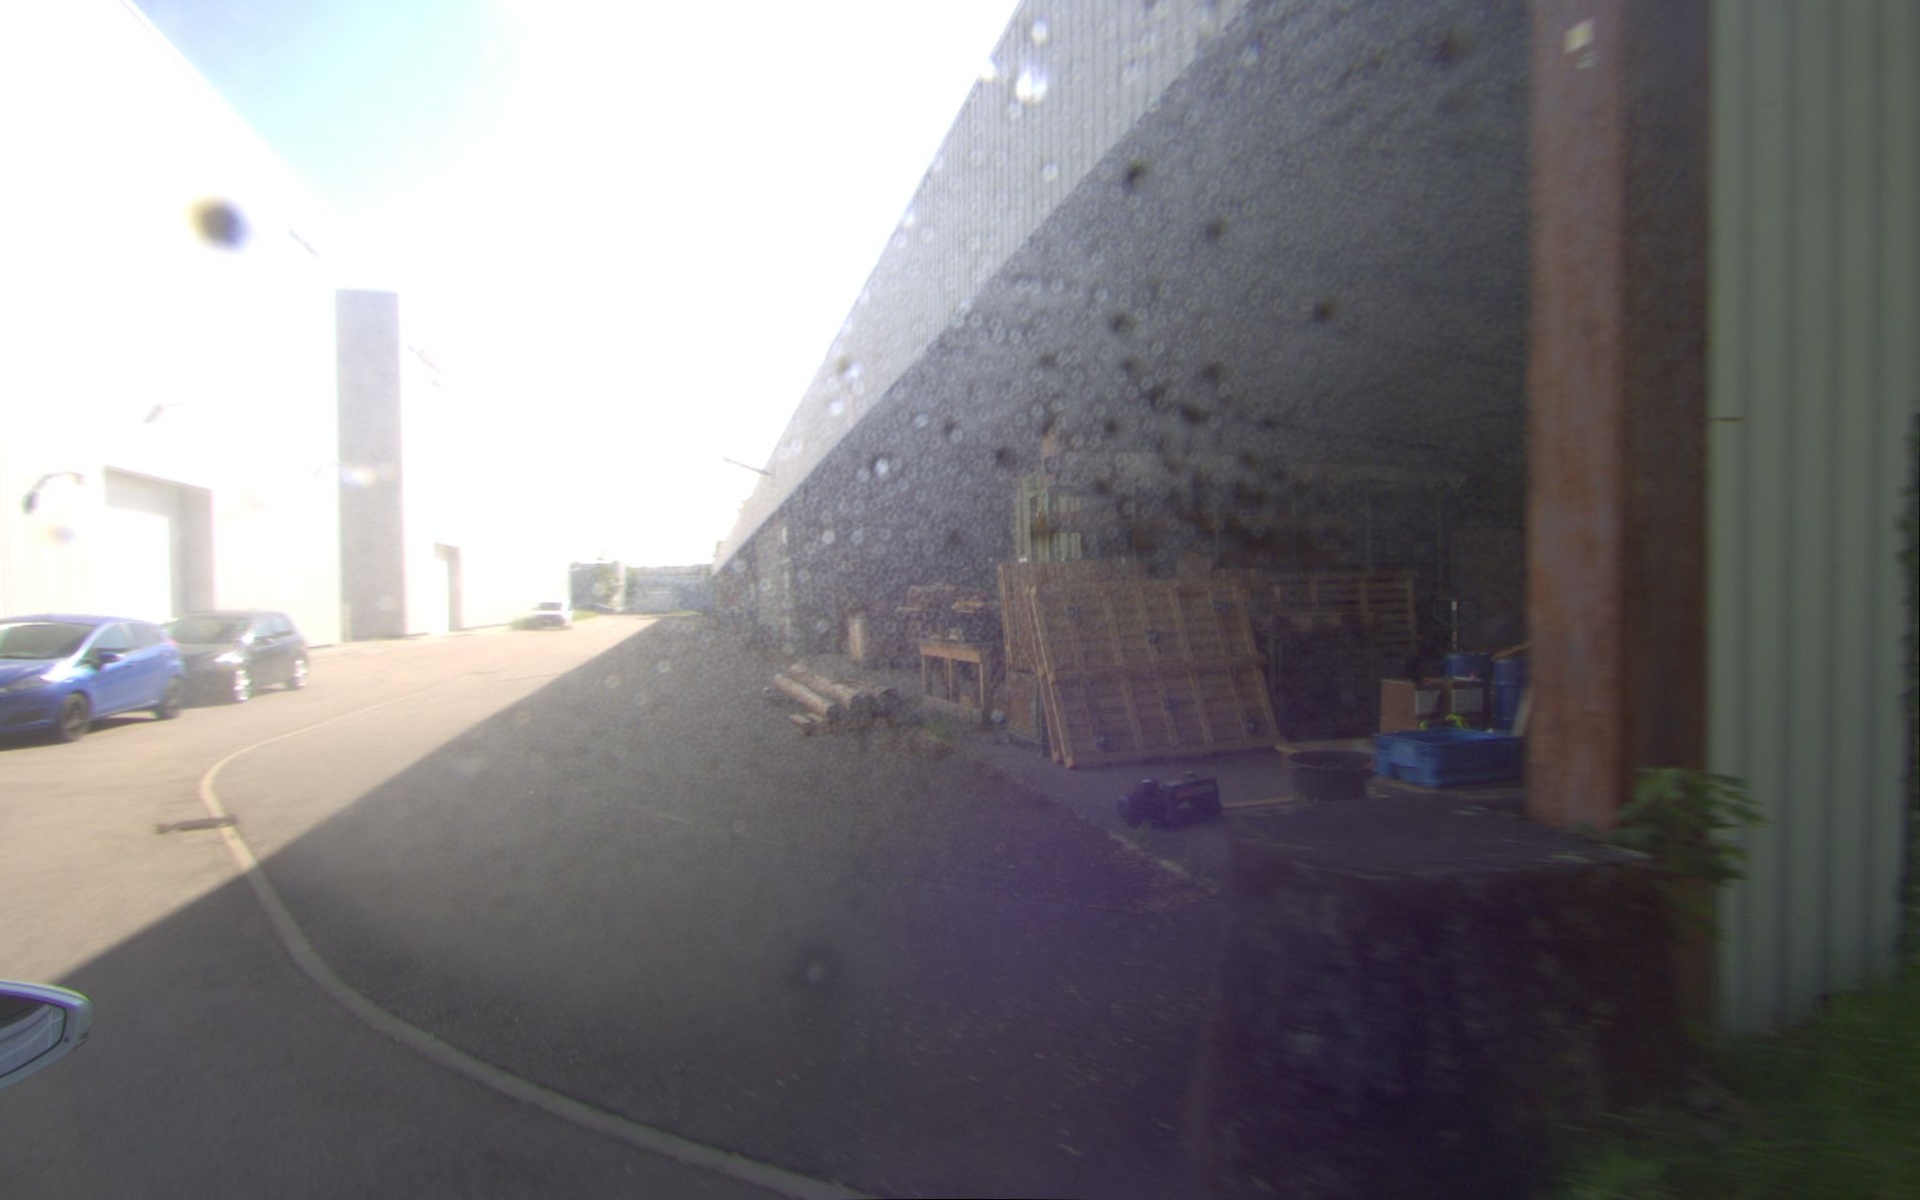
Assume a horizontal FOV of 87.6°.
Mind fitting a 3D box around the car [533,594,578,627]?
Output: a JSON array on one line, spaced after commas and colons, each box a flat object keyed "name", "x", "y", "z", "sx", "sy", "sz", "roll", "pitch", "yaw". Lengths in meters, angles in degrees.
[{"name": "car", "x": -23.697, "y": 0.615, "z": 58.819, "sx": 1.680, "sy": 1.779, "sz": 4.294, "roll": 2, "pitch": 0, "yaw": -12}]

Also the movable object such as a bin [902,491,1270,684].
[{"name": "movable object such as a bin", "x": 2.122, "y": -0.231, "z": 17.454, "sx": 5.861, "sy": 2.991, "sz": 2.492, "roll": -1, "pitch": 1, "yaw": -15}]

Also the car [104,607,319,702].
[{"name": "car", "x": -12.816, "y": 0.874, "z": 17.443, "sx": 1.724, "sy": 1.436, "sz": 3.890, "roll": 2, "pitch": -1, "yaw": -17}]

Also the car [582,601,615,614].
[{"name": "car", "x": -49.490, "y": 1.015, "z": 137.192, "sx": 4.025, "sy": 1.799, "sz": 1.896, "roll": -1, "pitch": 1, "yaw": -17}]

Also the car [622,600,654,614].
[{"name": "car", "x": -44.202, "y": 0.971, "z": 137.470, "sx": 4.025, "sy": 1.799, "sz": 1.896, "roll": -1, "pitch": 1, "yaw": -17}]

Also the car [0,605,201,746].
[{"name": "car", "x": -11.494, "y": 0.836, "z": 12.663, "sx": 1.724, "sy": 1.492, "sz": 3.890, "roll": 2, "pitch": -1, "yaw": -17}]
